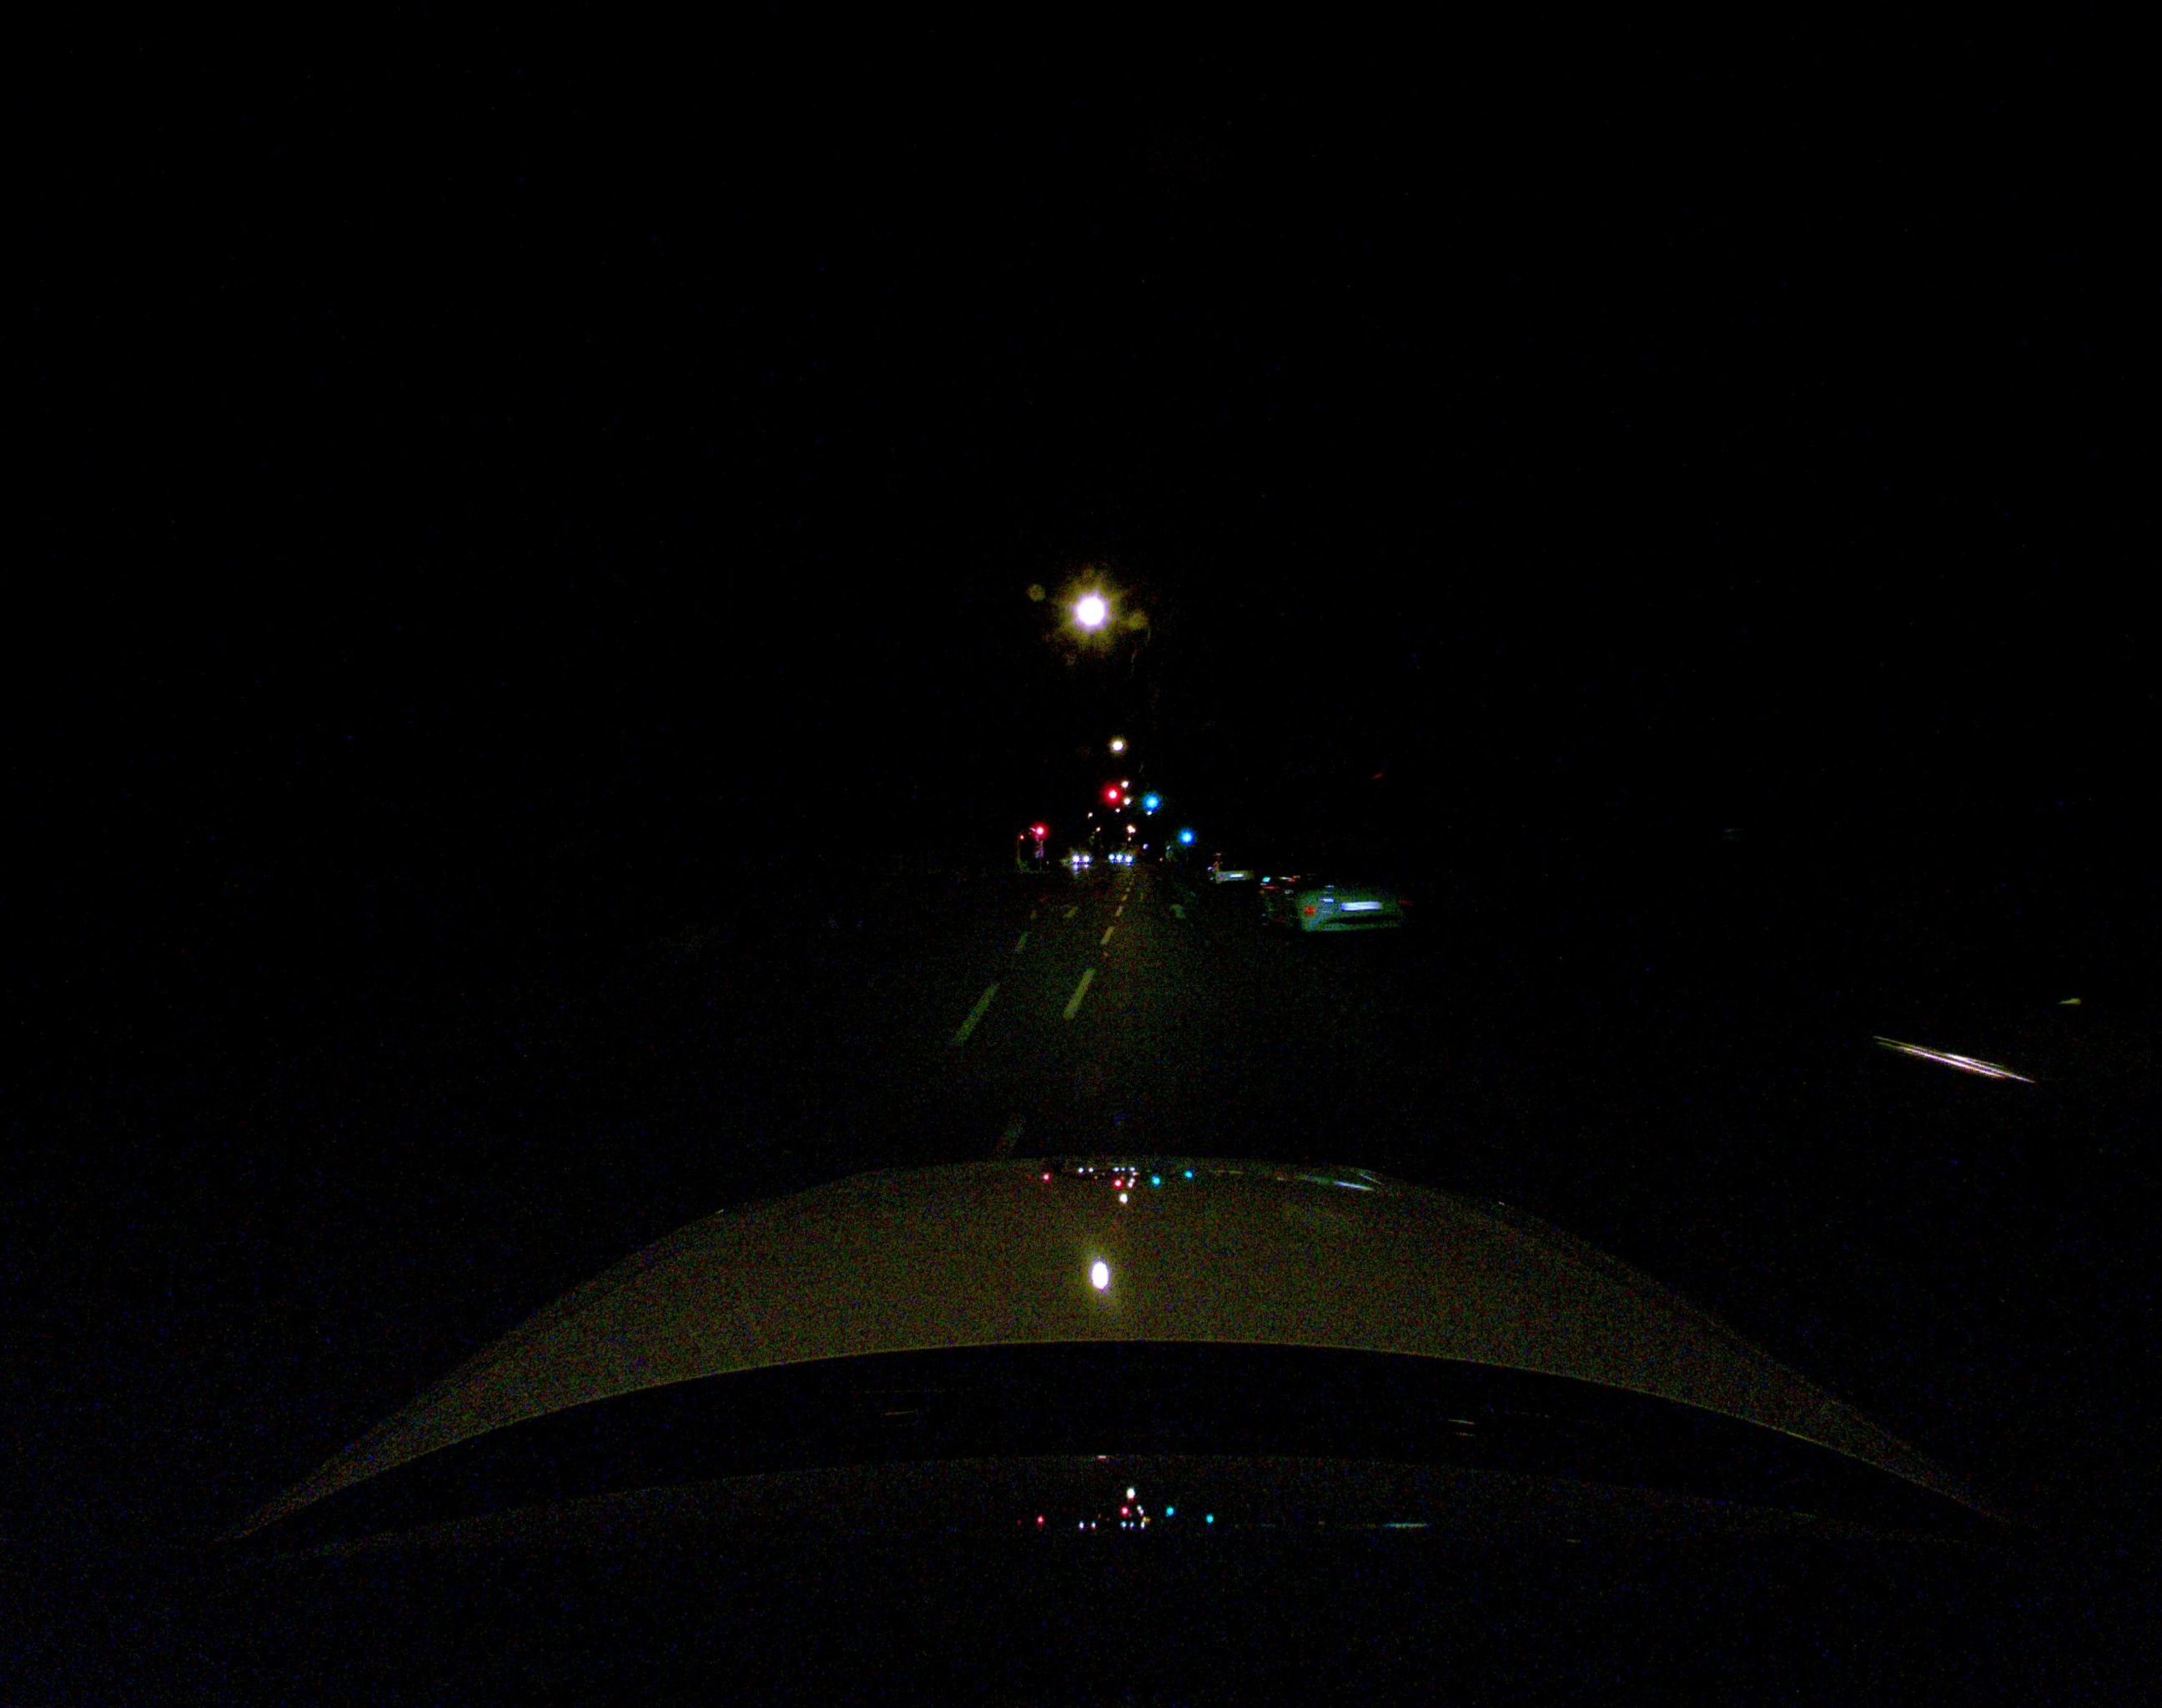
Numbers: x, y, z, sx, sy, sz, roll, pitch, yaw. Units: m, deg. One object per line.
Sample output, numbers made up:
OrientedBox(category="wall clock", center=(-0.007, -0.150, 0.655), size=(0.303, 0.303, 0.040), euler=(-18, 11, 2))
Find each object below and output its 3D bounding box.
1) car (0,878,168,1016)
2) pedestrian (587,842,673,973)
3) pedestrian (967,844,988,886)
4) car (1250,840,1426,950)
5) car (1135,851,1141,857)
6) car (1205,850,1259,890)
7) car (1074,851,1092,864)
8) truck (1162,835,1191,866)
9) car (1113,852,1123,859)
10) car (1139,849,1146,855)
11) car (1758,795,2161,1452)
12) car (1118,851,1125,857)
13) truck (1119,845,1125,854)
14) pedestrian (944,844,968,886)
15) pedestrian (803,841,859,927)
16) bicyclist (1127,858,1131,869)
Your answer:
OrientedBox(category="car", center=(-13.633, 1.136, 10.561), size=(3.297, 1.536, 2.013), euler=(-2, -1, 35))
OrientedBox(category="pedestrian", center=(-6.174, 0.704, 11.194), size=(0.666, 1.726, 0.867), euler=(-1, 0, 1))
OrientedBox(category="pedestrian", center=(-4.359, 0.457, 34.396), size=(0.672, 1.745, 1.029), euler=(-1, 0, 3))
OrientedBox(category="car", center=(4.256, 0.613, 14.198), size=(1.853, 1.553, 4.047), euler=(-3, 0, 2))
OrientedBox(category="car", center=(14.756, -0.040, 209.812), size=(1.627, 1.451, 3.488), euler=(0, 0, 4))
OrientedBox(category="car", center=(6.122, 0.601, 33.354), size=(1.661, 1.484, 3.606), euler=(-2, 0, 3))
OrientedBox(category="car", center=(0.242, 0.443, 98.041), size=(1.849, 1.534, 4.032), euler=(0, 0, 4))
OrientedBox(category="truck", center=(9.882, -0.391, 84.791), size=(2.737, 3.110, 6.266), euler=(0, 0, 5))
OrientedBox(category="car", center=(7.272, 0.341, 158.967), size=(1.908, 1.388, 4.587), euler=(0, 0, 3))
OrientedBox(category="car", center=(14.608, -0.554, 193.678), size=(1.627, 1.451, 3.488), euler=(0, 0, 4))
OrientedBox(category="car", center=(3.375, 0.620, 0.956), size=(1.730, 1.597, 4.364), euler=(-3, 0, 4))
OrientedBox(category="car", center=(10.535, 0.065, 211.420), size=(1.808, 1.491, 4.002), euler=(0, 0, 2))
OrientedBox(category="truck", center=(13.155, -1.399, 260.444), size=(2.078, 2.848, 5.835), euler=(0, 0, 2))
OrientedBox(category="pedestrian", center=(-5.194, 0.445, 33.884), size=(0.739, 1.745, 1.104), euler=(-1, 0, 3))
OrientedBox(category="pedestrian", center=(-5.031, 0.589, 16.460), size=(0.739, 1.672, 1.104), euler=(-1, 0, 3))
OrientedBox(category="bicyclist", center=(7.390, 1.512, 125.325), size=(0.687, 1.637, 0.897), euler=(0, -1, 4))
